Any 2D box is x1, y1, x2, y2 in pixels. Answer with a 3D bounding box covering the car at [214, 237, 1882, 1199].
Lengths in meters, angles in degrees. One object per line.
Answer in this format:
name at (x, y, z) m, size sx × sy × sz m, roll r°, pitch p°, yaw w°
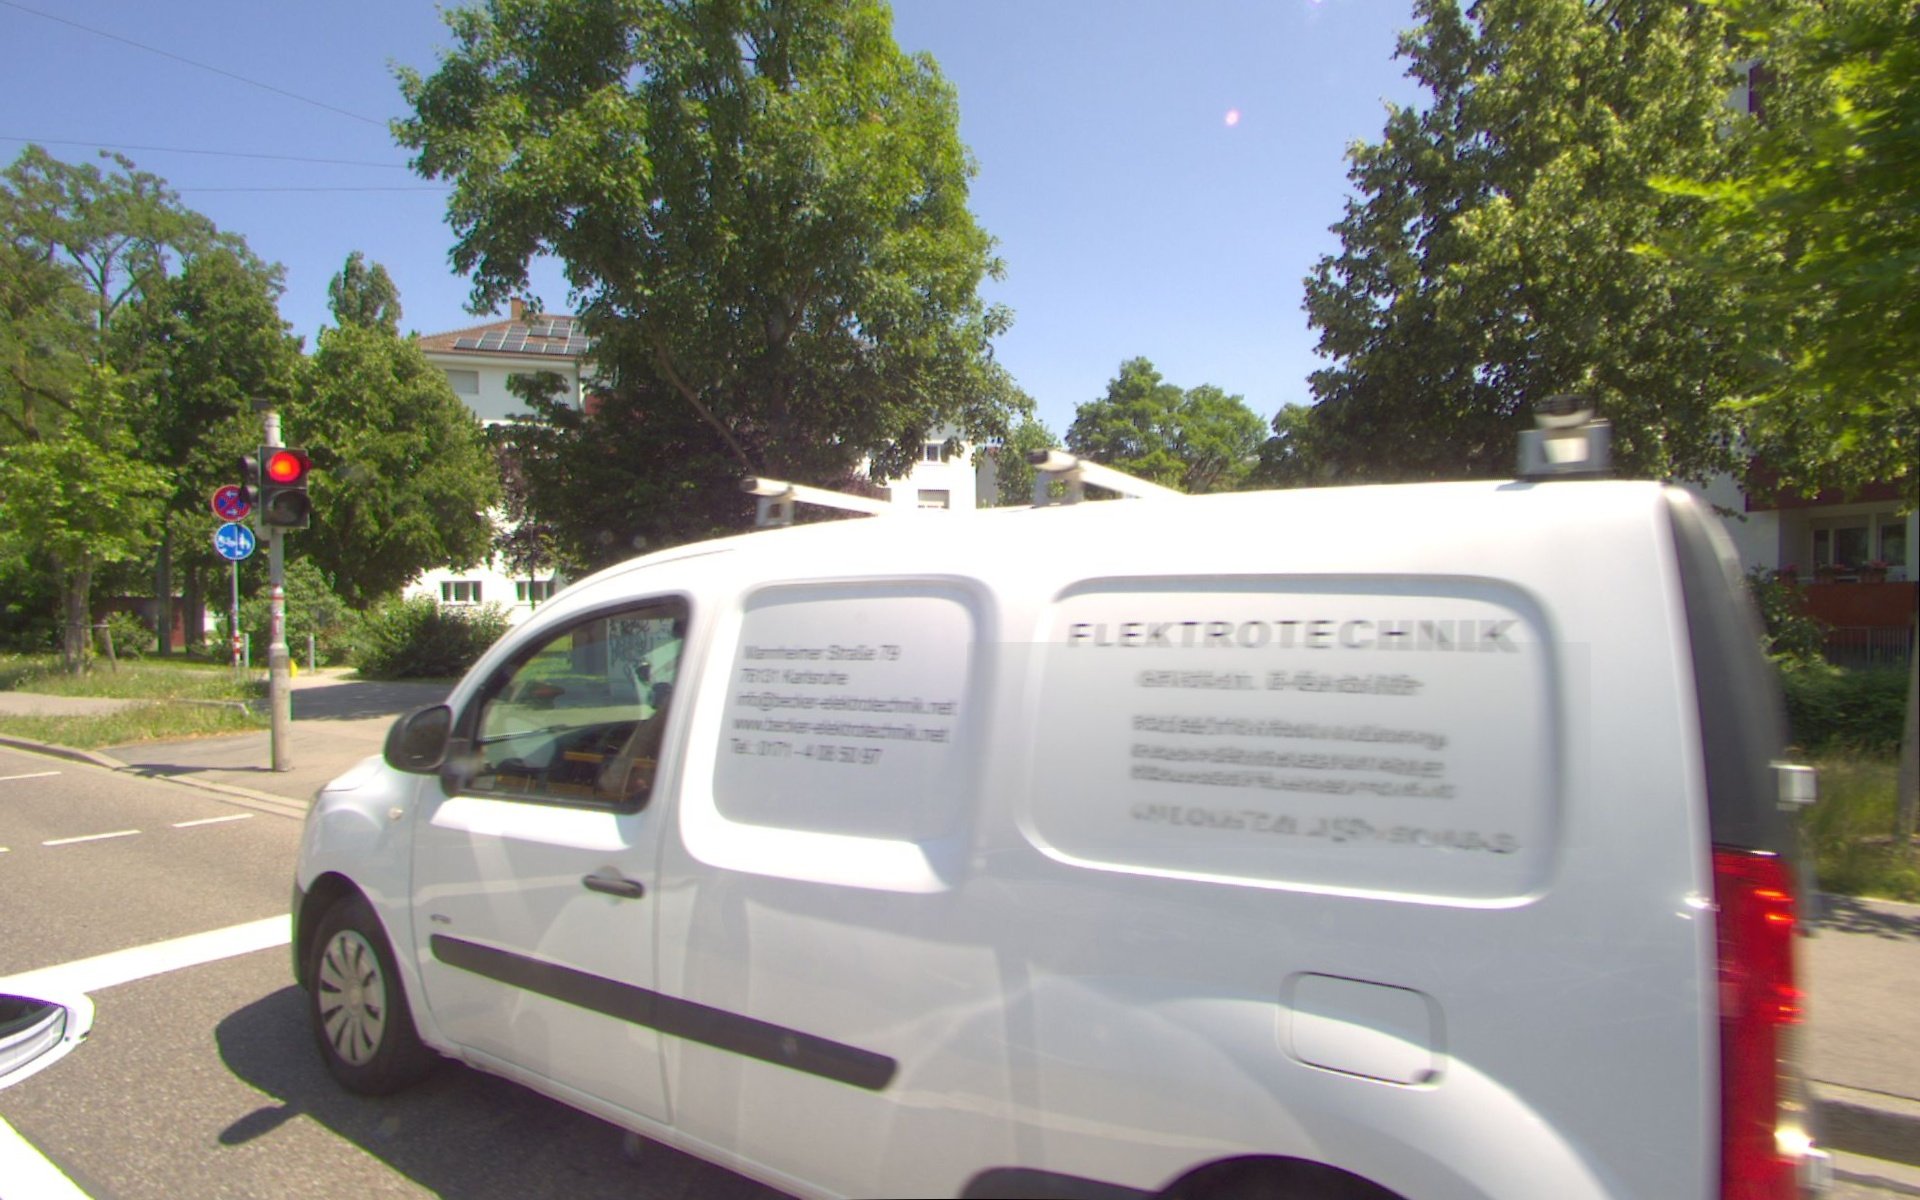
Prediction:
car at (-0.306, 0.582, 3.108) m, size 4.393 × 1.906 × 1.820 m, roll 0°, pitch -1°, yaw 33°
